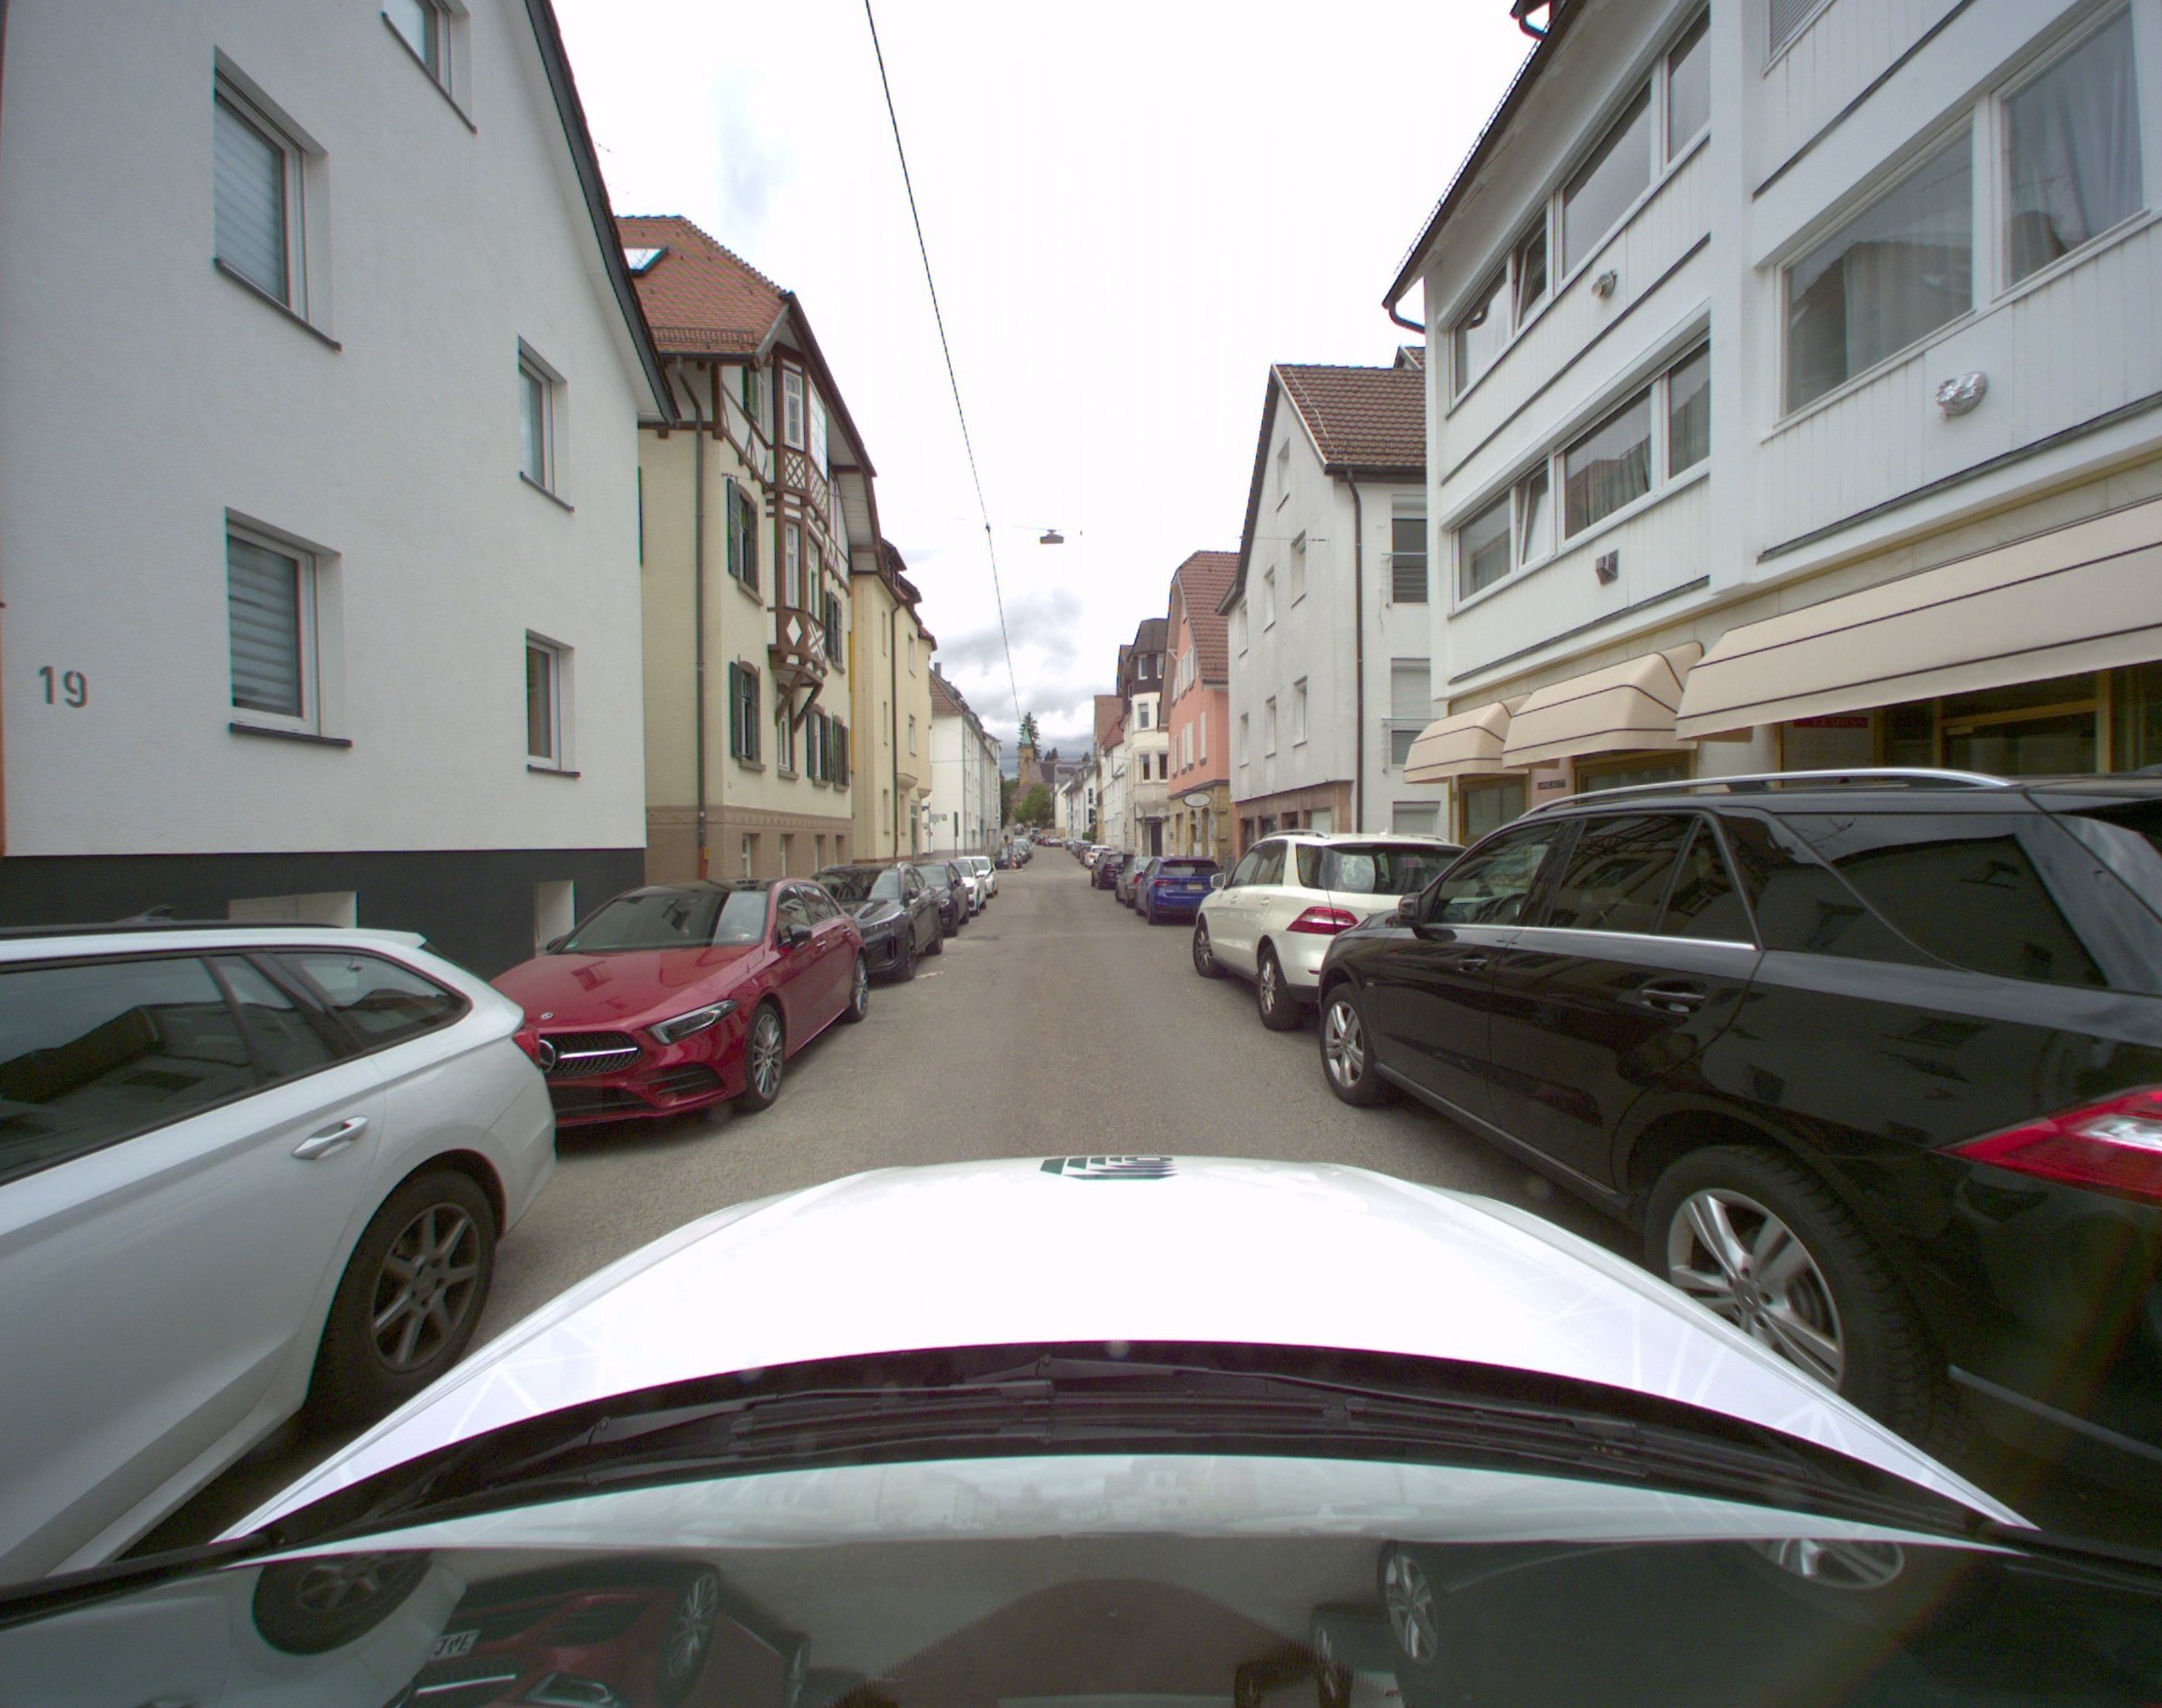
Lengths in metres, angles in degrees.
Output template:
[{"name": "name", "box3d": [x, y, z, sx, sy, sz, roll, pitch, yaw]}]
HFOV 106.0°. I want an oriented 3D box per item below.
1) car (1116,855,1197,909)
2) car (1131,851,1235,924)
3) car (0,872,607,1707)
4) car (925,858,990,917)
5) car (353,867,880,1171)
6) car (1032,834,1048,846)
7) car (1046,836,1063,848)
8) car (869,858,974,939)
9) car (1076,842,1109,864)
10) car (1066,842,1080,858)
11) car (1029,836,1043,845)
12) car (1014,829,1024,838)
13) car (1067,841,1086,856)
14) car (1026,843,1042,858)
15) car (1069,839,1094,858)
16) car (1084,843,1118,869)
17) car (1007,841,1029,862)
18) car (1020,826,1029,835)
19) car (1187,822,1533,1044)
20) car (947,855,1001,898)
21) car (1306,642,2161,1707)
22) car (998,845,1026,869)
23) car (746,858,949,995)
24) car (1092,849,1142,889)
[{"name": "car", "box3d": [2.086, 0.744, 23.499, 1.745, 1.391, 4.026, 0, 0, -4]}, {"name": "car", "box3d": [2.192, 0.688, 18.452, 1.770, 1.475, 3.779, 0, 0, -2]}, {"name": "car", "box3d": [-2.688, 0.828, 1.095, 1.790, 1.461, 4.289, -2, 0, -4]}, {"name": "car", "box3d": [-3.199, 0.820, 21.651, 1.280, 1.359, 3.801, -2, 0, -3]}, {"name": "car", "box3d": [-2.891, 0.872, 6.277, 1.764, 1.417, 4.167, -2, 0, -3]}, {"name": "car", "box3d": [-6.232, -2.078, 123.266, 1.890, 1.645, 3.959, 2, 2, -12]}, {"name": "car", "box3d": [-3.664, -1.668, 112.304, 1.760, 1.666, 3.986, 2, 1, -11]}, {"name": "car", "box3d": [-3.198, 0.824, 17.010, 1.603, 1.424, 3.849, -2, 0, -3]}, {"name": "car", "box3d": [0.802, -0.063, 59.807, 1.952, 1.574, 3.991, 0, 0, -7]}, {"name": "car", "box3d": [-0.954, -0.447, 93.531, 1.574, 1.759, 3.207, 0, -1, -2]}, {"name": "car", "box3d": [-7.788, -2.334, 139.926, 1.890, 1.604, 3.701, 2, 1, -12]}, {"name": "car", "box3d": [-13.262, -4.355, 173.871, 1.746, 1.683, 3.591, 2, 1, -7]}, {"name": "car", "box3d": [-0.425, -0.507, 75.047, 1.406, 1.305, 2.896, 0, 2, -6]}, {"name": "car", "box3d": [-4.636, -0.342, 80.845, 1.536, 1.341, 3.280, 1, -3, -3]}, {"name": "car", "box3d": [0.027, -0.488, 69.977, 1.725, 1.574, 3.826, 0, 2, -6]}, {"name": "car", "box3d": [1.310, 0.102, 54.456, 1.764, 1.525, 3.894, 1, 2, -7]}, {"name": "car", "box3d": [-4.922, -0.193, 63.838, 1.536, 1.515, 3.374, 2, 1, -3]}, {"name": "car", "box3d": [-13.319, -5.440, 190.536, 1.820, 1.923, 3.741, 2, 2, -8]}, {"name": "car", "box3d": [2.472, 0.589, 8.525, 1.929, 1.712, 4.372, 0, 0, -3]}, {"name": "car", "box3d": [-3.775, 0.766, 29.284, 1.582, 1.422, 3.397, -2, 0, -2]}, {"name": "car", "box3d": [2.609, 0.588, 3.473, 1.936, 1.780, 4.364, 1, -1, -2]}, {"name": "car", "box3d": [-4.565, 0.176, 54.481, 1.670, 1.464, 3.996, 1, 1, -3]}, {"name": "car", "box3d": [-3.046, 0.850, 11.504, 1.764, 1.495, 3.978, -3, 0, -2]}, {"name": "car", "box3d": [1.464, 0.595, 34.287, 1.709, 1.549, 3.797, 2, 0, -4]}]
